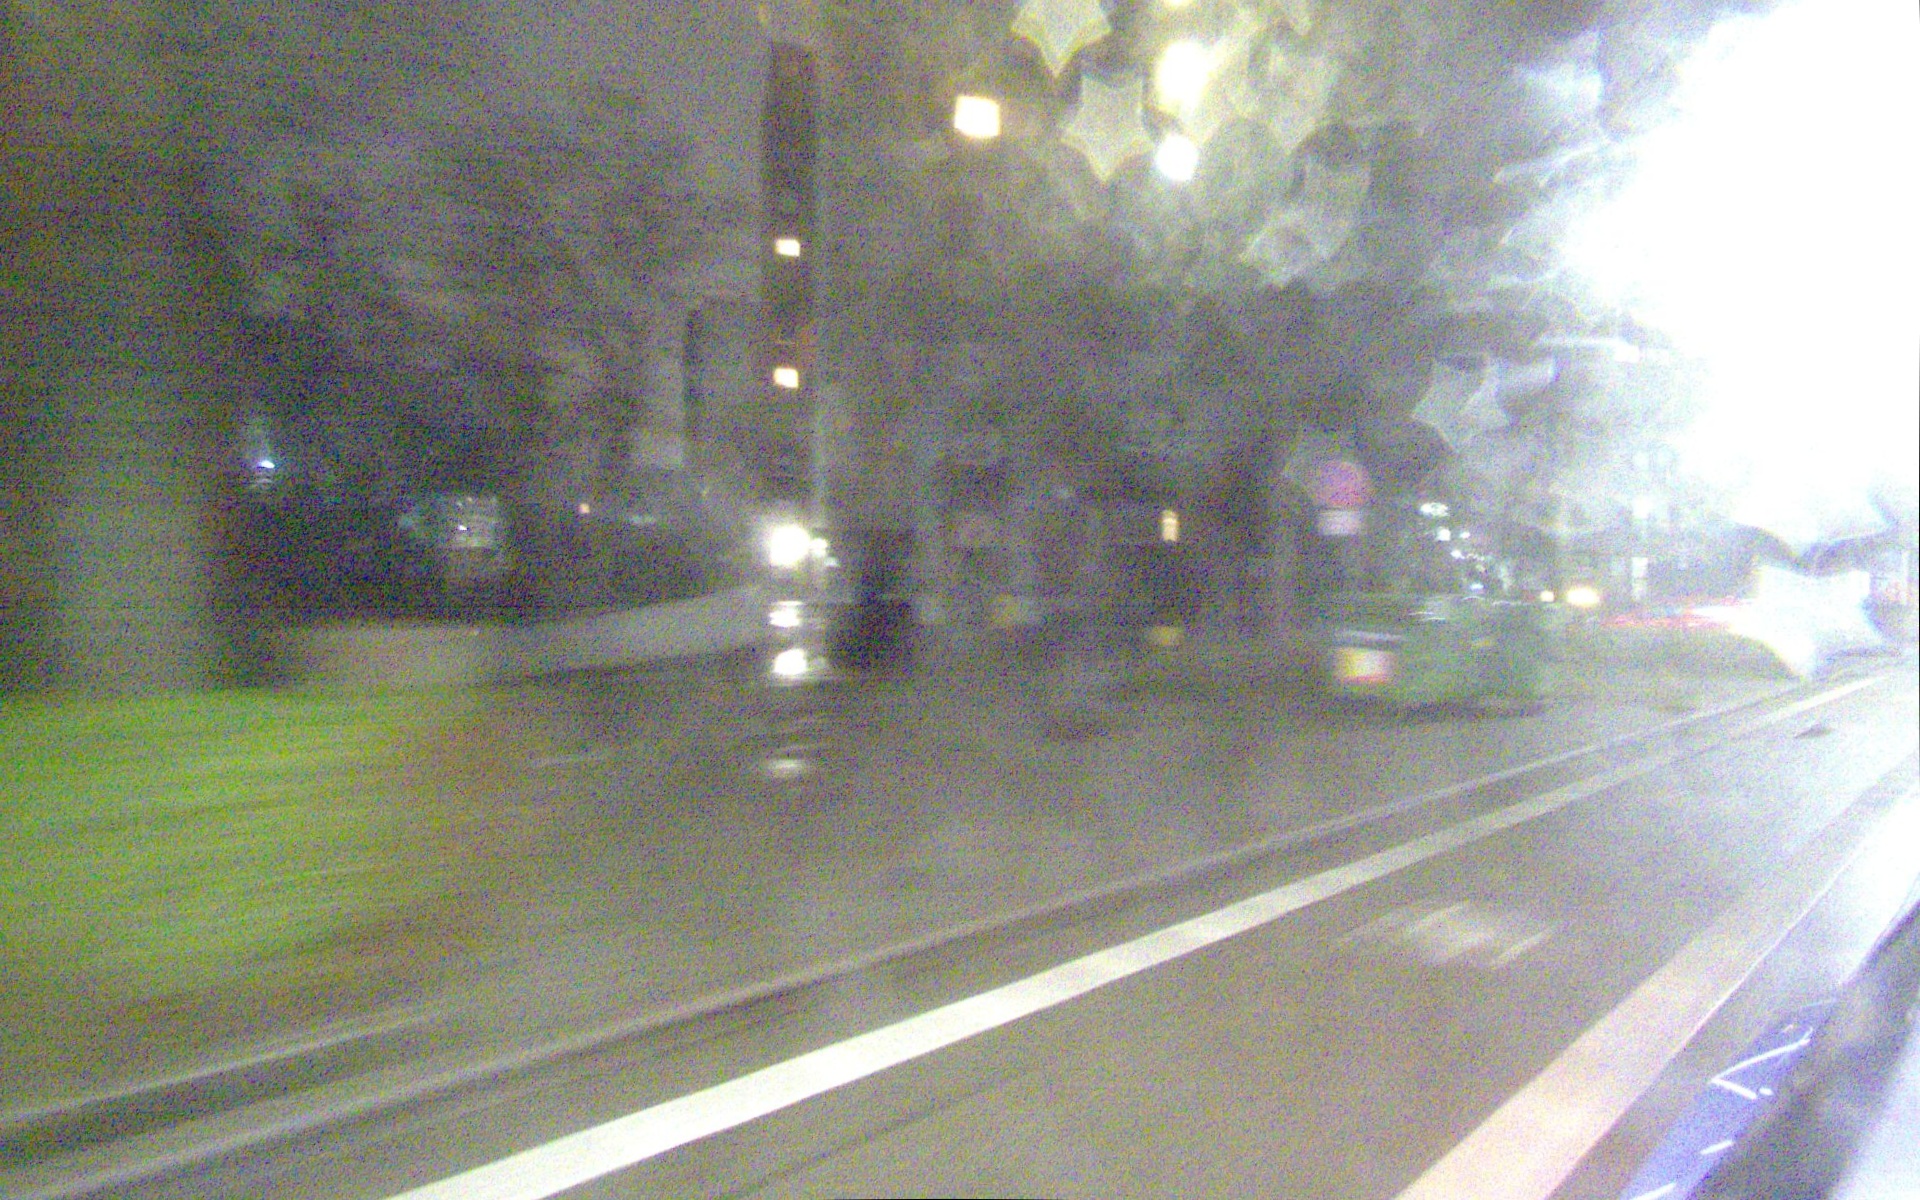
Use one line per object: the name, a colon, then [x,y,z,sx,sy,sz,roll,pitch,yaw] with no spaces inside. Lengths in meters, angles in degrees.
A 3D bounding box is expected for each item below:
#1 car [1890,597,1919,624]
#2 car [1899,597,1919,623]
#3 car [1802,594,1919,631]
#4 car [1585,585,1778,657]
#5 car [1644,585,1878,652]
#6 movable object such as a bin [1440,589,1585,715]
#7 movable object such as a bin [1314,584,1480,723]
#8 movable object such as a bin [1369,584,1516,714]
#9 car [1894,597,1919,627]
car: [54.760,0.595,56.256,4.184,1.435,1.782,0,1,8]
car: [58.970,0.602,60.456,4.107,1.501,1.662,0,-1,1]
car: [39.504,0.539,43.855,4.273,1.486,1.676,1,1,11]
car: [17.626,0.470,24.944,3.676,1.537,1.640,3,2,31]
car: [20.941,0.437,26.748,4.562,1.493,1.821,3,2,30]
movable object such as a bin: [6.985,0.609,12.793,1.322,1.425,1.141,3,3,44]
movable object such as a bin: [5.013,0.556,11.653,1.052,1.440,1.373,0,2,-35]
movable object such as a bin: [5.874,0.551,12.346,1.080,1.440,1.212,0,2,-35]
car: [50.681,0.624,51.930,3.835,1.531,1.711,0,1,3]
